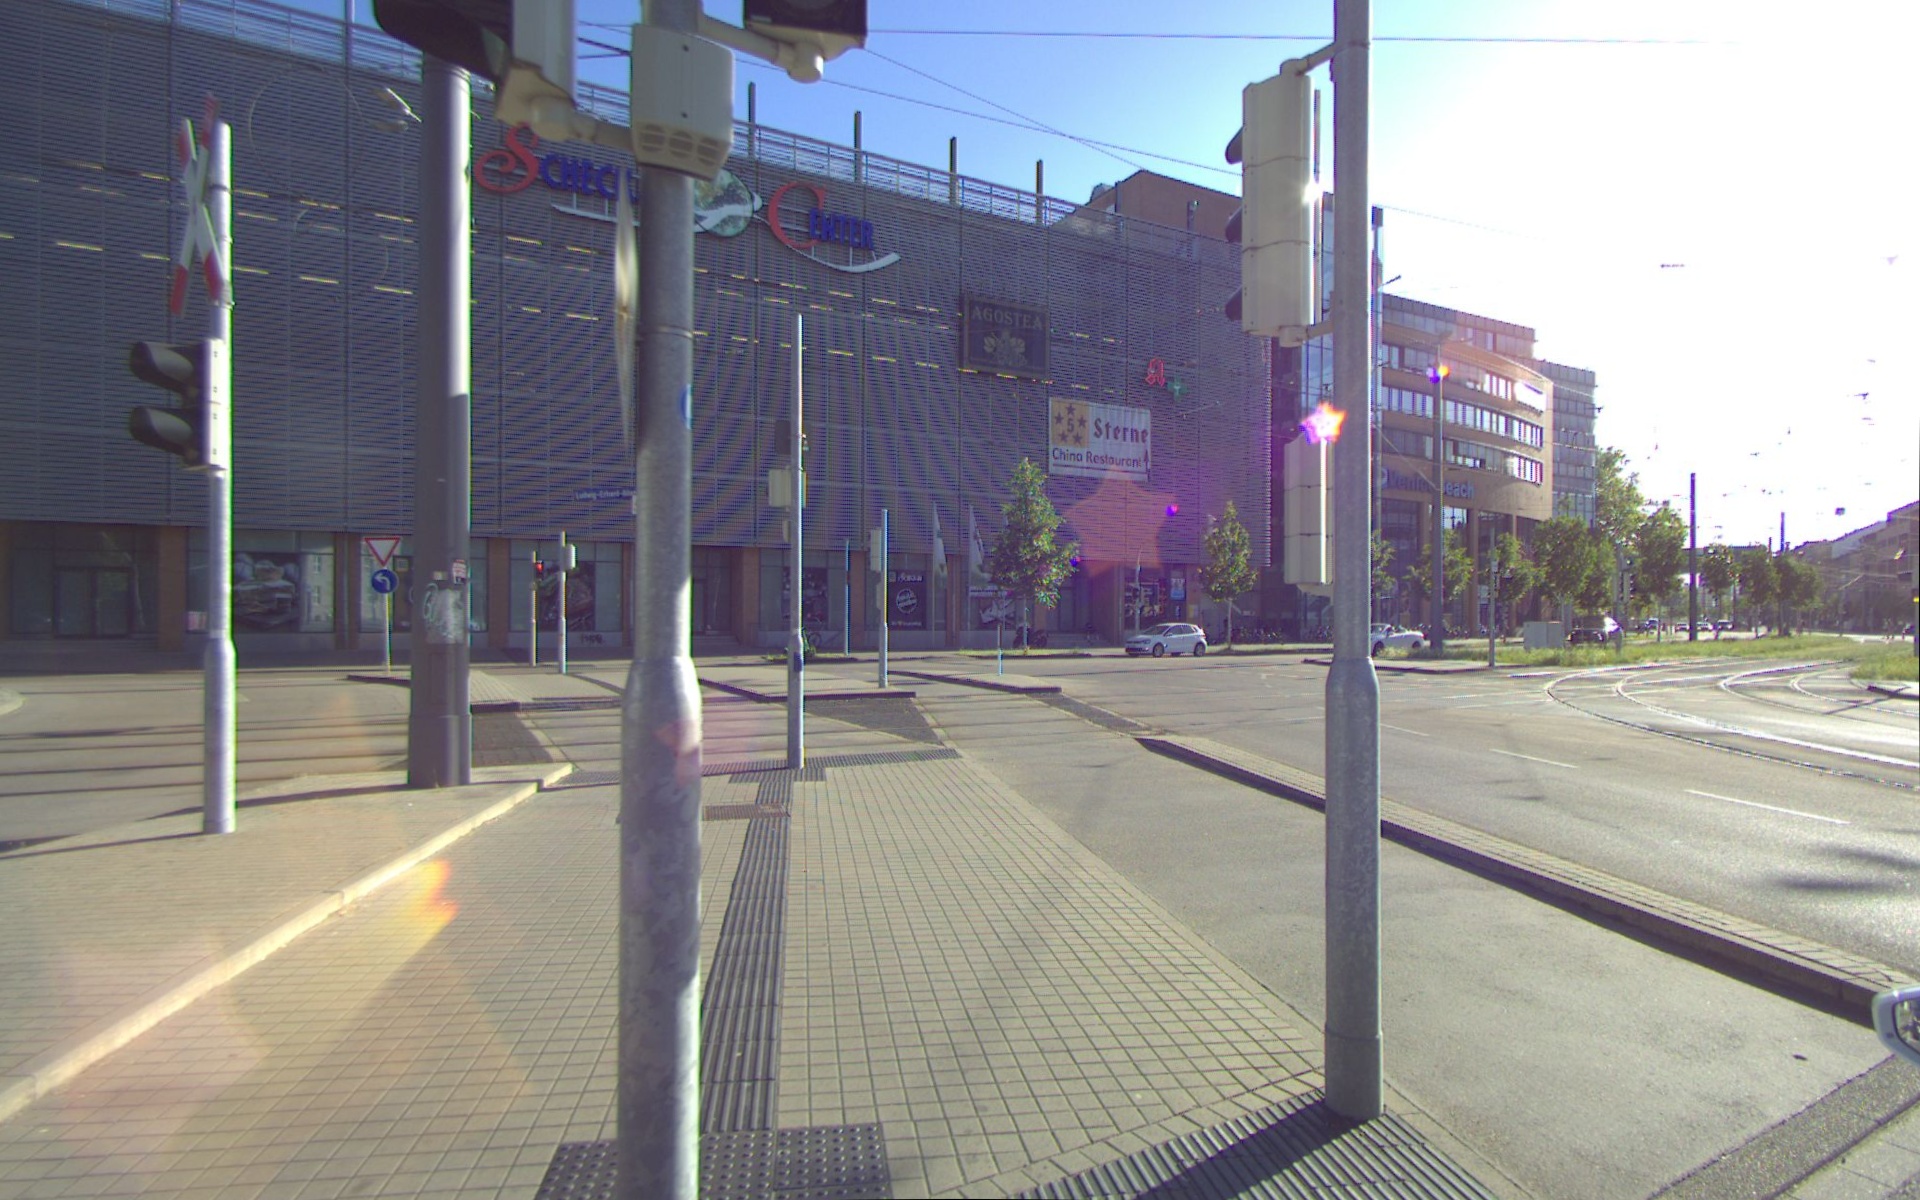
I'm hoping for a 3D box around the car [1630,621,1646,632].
[{"bbox_3d":[109.822,4.327,162.720,1.966,1.706,3.990,0,-1,33],"label":"car"}]

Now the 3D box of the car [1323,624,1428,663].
[{"bbox_3d":[17.848,1.827,43.069,4.480,1.566,1.982,1,-1,-33],"label":"car"}]

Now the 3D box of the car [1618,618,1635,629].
[{"bbox_3d":[123.661,4.285,186.400,1.961,2.040,3.998,-1,-1,23],"label":"car"}]

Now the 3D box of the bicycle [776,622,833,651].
[{"bbox_3d":[-6.896,1.602,44.575,2.382,1.237,0.798,1,-1,-26],"label":"bicycle"}]

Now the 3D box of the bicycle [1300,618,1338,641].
[{"bbox_3d":[23.129,1.928,64.807,1.060,1.452,2.367,1,-2,-19],"label":"bicycle"}]

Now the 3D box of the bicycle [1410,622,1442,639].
[{"bbox_3d":[35.236,2.305,75.970,0.733,1.252,2.411,1,-2,-19],"label":"bicycle"}]

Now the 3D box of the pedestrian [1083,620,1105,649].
[{"bbox_3d":[7.467,1.949,55.956,0.819,1.586,0.983,2,-2,-28],"label":"pedestrian"}]

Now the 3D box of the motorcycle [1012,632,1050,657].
[{"bbox_3d":[3.583,2.235,50.779,1.871,1.255,0.673,2,-2,-30],"label":"motorcycle"}]

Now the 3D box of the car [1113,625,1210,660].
[{"bbox_3d":[8.795,1.820,43.745,3.957,1.425,1.883,0,-1,-33],"label":"car"}]

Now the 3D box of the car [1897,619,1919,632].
[{"bbox_3d":[131.948,3.528,139.593,1.967,1.728,3.987,0,-2,36],"label":"car"}]

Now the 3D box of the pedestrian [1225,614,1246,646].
[{"bbox_3d":[16.140,1.767,58.902,0.893,1.848,0.824,2,-2,-27],"label":"pedestrian"}]

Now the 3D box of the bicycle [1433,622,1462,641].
[{"bbox_3d":[37.612,2.405,77.579,0.747,1.452,2.136,1,-2,-19],"label":"bicycle"}]

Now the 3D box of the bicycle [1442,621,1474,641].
[{"bbox_3d":[38.686,2.405,78.028,0.776,1.452,2.418,1,-2,-19],"label":"bicycle"}]

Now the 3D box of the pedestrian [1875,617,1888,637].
[{"bbox_3d":[89.772,2.627,97.854,0.824,1.848,0.893,3,-3,-45],"label":"pedestrian"}]

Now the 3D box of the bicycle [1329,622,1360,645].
[{"bbox_3d":[25.108,2.189,65.662,0.794,1.452,1.976,1,-2,-19],"label":"bicycle"}]

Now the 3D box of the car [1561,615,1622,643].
[{"bbox_3d":[39.383,1.779,62.610,4.374,1.662,1.978,1,-1,-39],"label":"car"}]

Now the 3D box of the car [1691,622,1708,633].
[{"bbox_3d":[117.230,4.291,159.217,1.966,1.706,3.990,0,-1,33],"label":"car"}]

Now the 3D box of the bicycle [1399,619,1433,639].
[{"bbox_3d":[34.077,2.172,75.143,0.759,1.452,2.605,1,-2,-19],"label":"bicycle"}]

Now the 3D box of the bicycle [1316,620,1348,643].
[{"bbox_3d":[24.131,2.068,65.171,0.847,1.452,2.081,1,-2,-19],"label":"bicycle"}]

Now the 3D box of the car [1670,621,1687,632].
[{"bbox_3d":[115.200,4.284,161.149,1.966,1.706,3.990,0,-1,33],"label":"car"}]

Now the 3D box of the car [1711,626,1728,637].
[{"bbox_3d":[122.858,5.038,162.504,1.966,1.706,3.990,0,-1,33],"label":"car"}]
